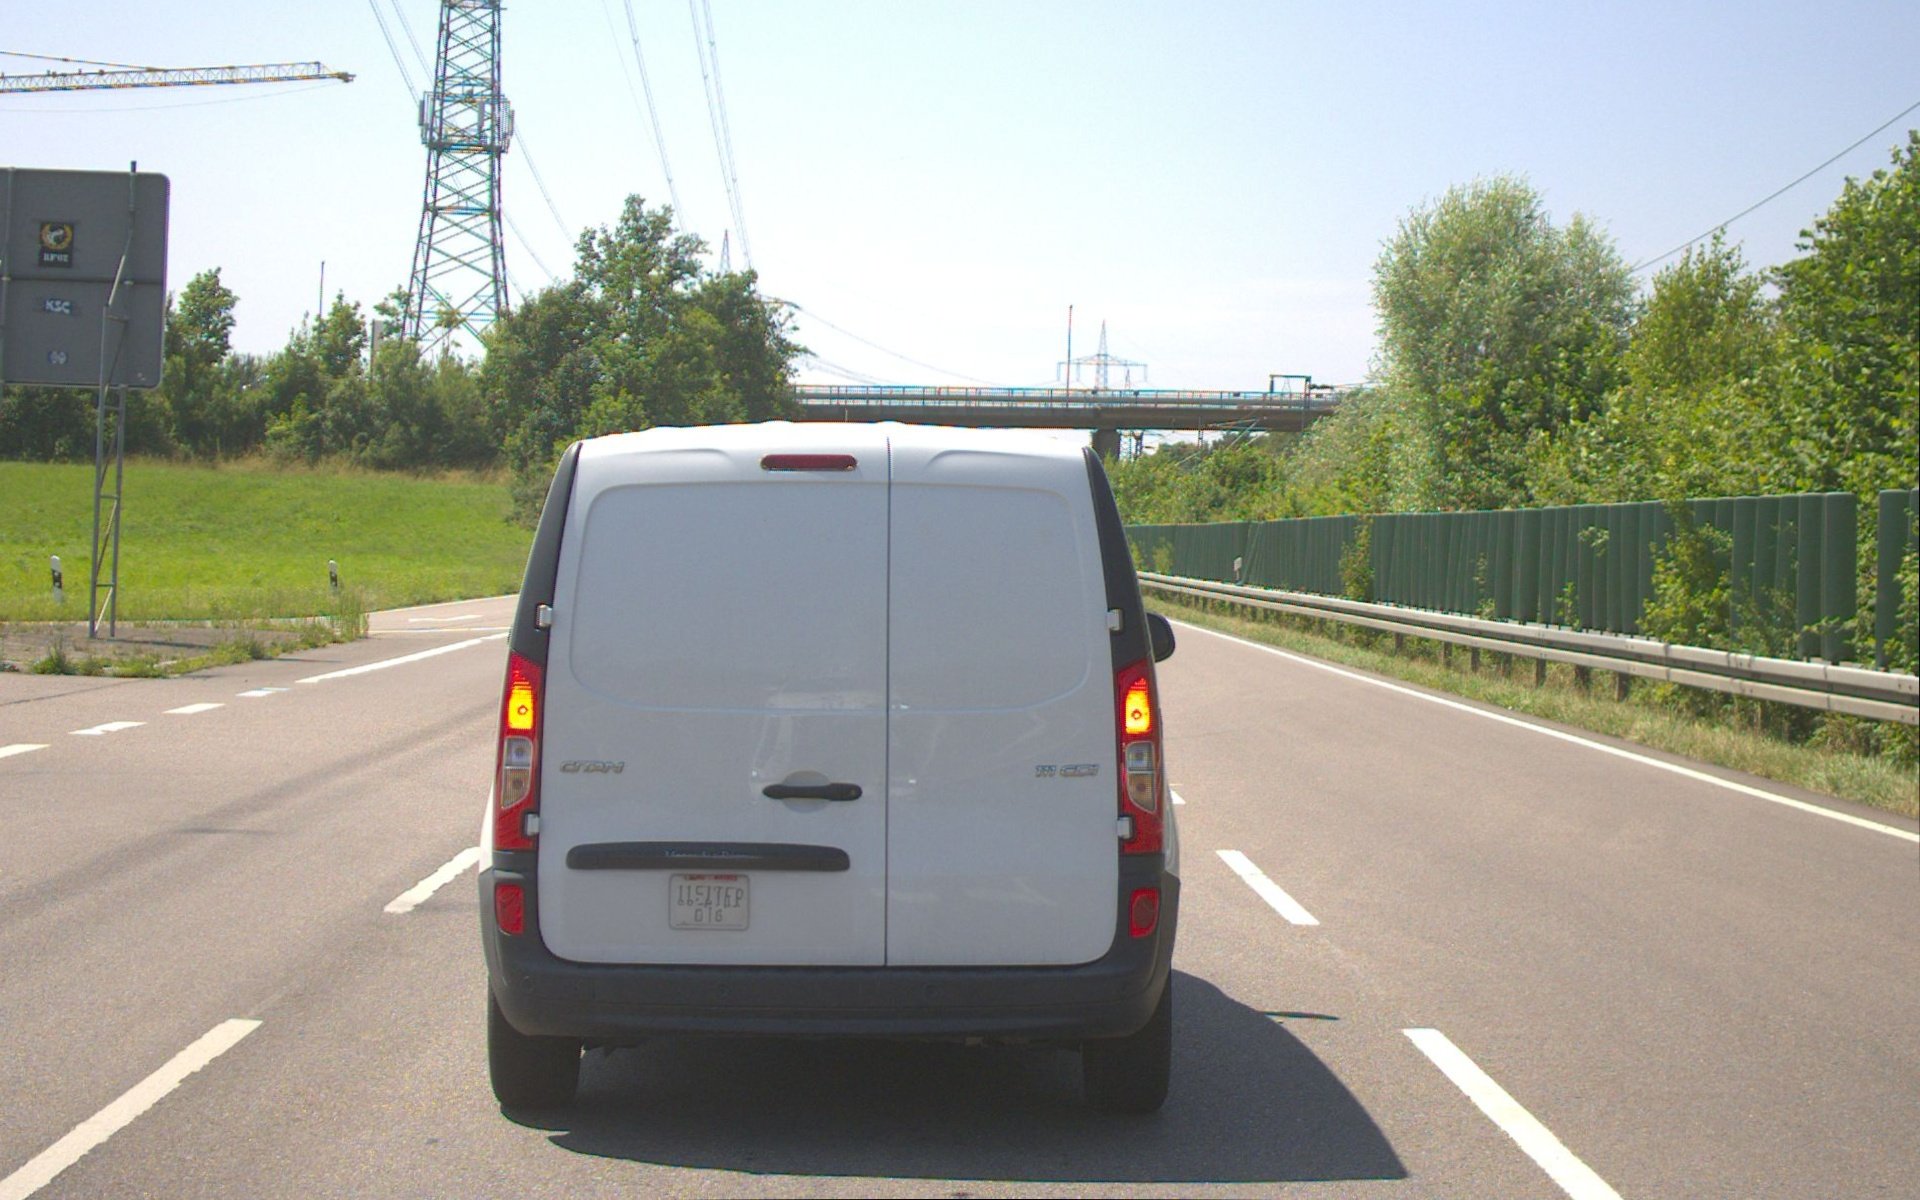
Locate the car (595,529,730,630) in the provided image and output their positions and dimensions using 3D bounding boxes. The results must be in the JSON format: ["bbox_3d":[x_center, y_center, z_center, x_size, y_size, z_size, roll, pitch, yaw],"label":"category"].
[{"bbox_3d":[-4.595,-0.343,53.587,1.782,1.459,4.000,2,1,-1],"label":"car"}]

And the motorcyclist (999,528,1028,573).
[{"bbox_3d":[1.743,-1.628,112.810,0.889,1.471,1.002,1,1,-1],"label":"motorcyclist"}]

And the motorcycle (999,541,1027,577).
[{"bbox_3d":[1.739,-1.352,112.734,0.790,1.153,1.901,1,1,-2],"label":"motorcycle"}]

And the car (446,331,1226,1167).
[{"bbox_3d":[-0.332,0.315,10.152,1.827,1.964,4.000,1,1,-1],"label":"car"}]
